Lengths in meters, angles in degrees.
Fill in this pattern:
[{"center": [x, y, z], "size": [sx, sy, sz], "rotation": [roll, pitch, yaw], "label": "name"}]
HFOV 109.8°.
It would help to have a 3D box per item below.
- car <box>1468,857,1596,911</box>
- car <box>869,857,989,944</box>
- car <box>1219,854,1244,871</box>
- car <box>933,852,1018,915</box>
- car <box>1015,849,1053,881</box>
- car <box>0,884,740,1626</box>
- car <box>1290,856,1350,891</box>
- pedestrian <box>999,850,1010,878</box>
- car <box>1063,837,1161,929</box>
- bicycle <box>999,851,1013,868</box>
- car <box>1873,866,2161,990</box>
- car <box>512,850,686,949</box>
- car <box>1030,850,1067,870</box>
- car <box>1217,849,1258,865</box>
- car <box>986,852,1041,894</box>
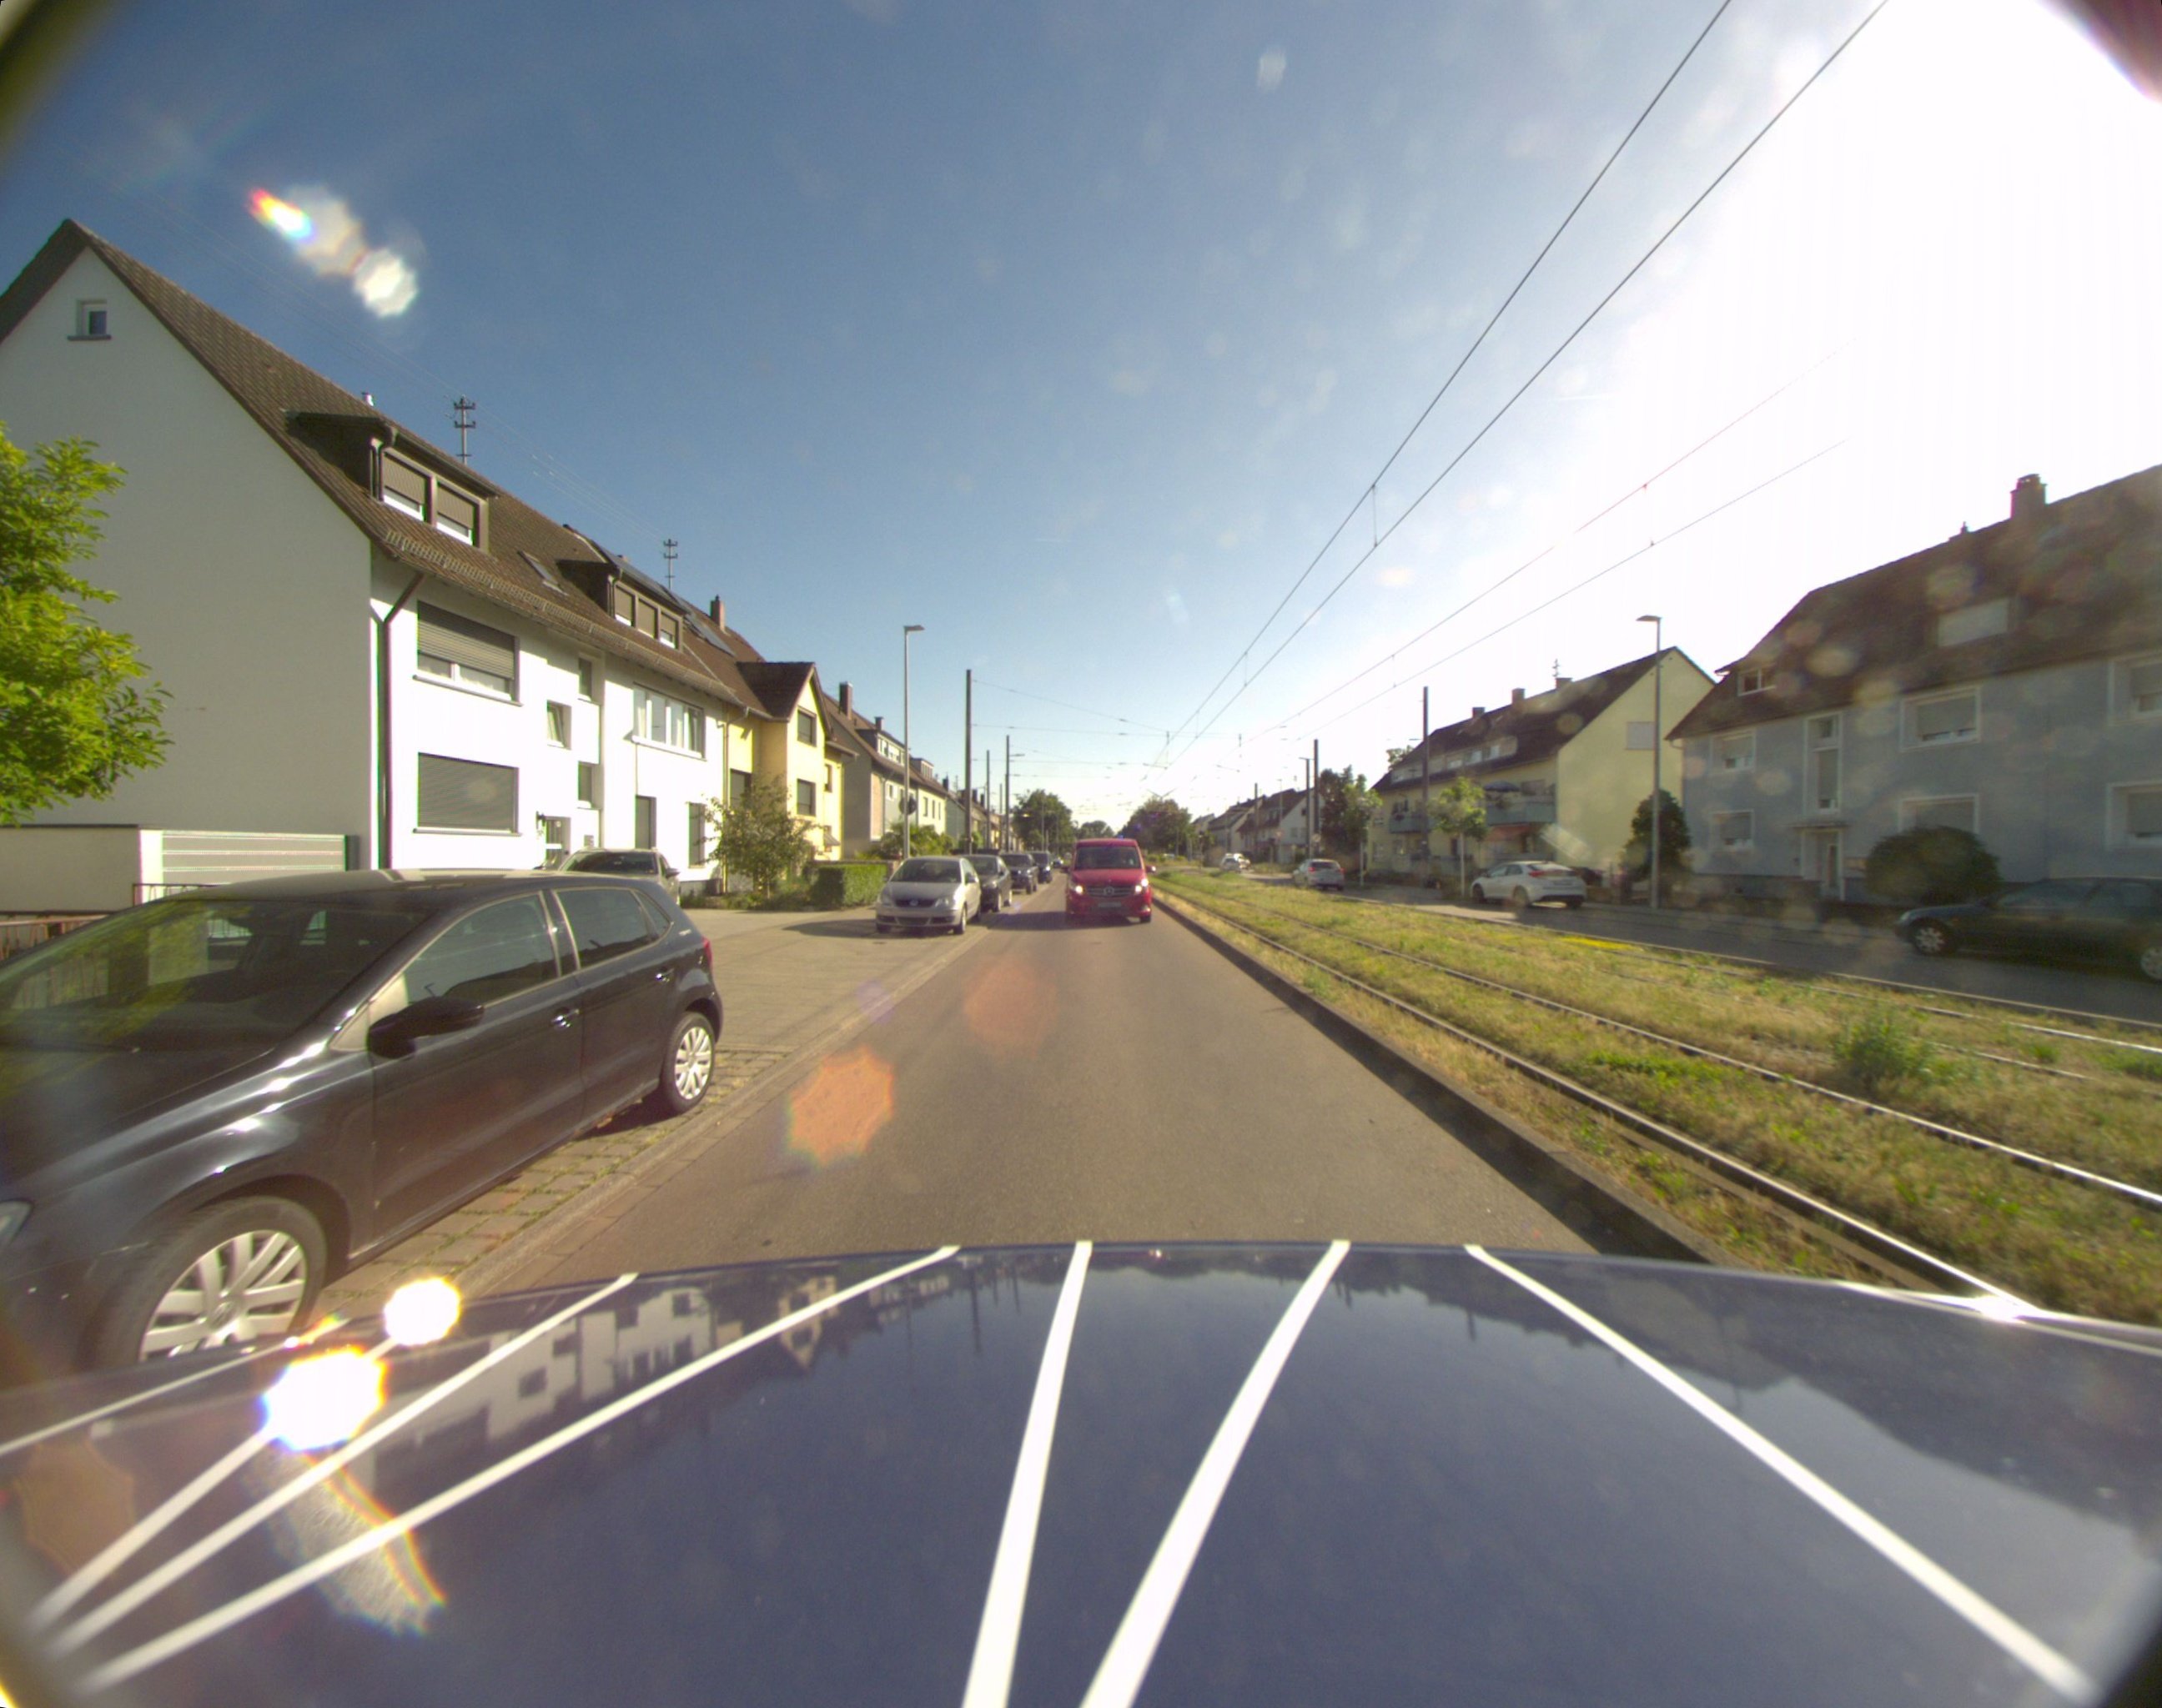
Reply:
[{"center": [14.308, 0.886, 24.397], "size": [1.696, 1.509, 4.214], "rotation": [1, 0, 2], "label": "car"}, {"center": [-2.975, 0.834, 15.755], "size": [1.620, 1.467, 4.448], "rotation": [0, 1, 0], "label": "car"}, {"center": [13.136, 0.738, 66.491], "size": [1.553, 1.403, 3.659], "rotation": [1, 0, 2], "label": "car"}, {"center": [-2.843, 0.739, 21.252], "size": [1.670, 1.538, 3.835], "rotation": [2, 0, 2], "label": "car"}, {"center": [-2.762, 0.618, 45.596], "size": [1.966, 1.825, 4.926], "rotation": [0, 0, 1], "label": "car"}, {"center": [-3.174, 0.954, 3.043], "size": [1.675, 1.445, 4.125], "rotation": [1, 1, 1], "label": "car"}, {"center": [11.527, 0.878, 36.893], "size": [1.712, 1.482, 4.023], "rotation": [0, 2, 2], "label": "car"}, {"center": [-4.654, 0.612, 46.437], "size": [0.584, 1.713, 0.714], "rotation": [1, 1, 2], "label": "pedestrian"}, {"center": [0.591, 0.597, 18.784], "size": [1.999, 1.970, 5.236], "rotation": [0, 0, -2], "label": "car"}, {"center": [-4.642, 0.340, 46.852], "size": [0.602, 0.974, 1.562], "rotation": [2, 1, 3], "label": "bicycle"}, {"center": [14.205, 0.943, 10.712], "size": [1.794, 1.454, 4.167], "rotation": [0, 0, 2], "label": "car"}, {"center": [-8.548, 0.682, 13.938], "size": [2.003, 1.437, 4.871], "rotation": [1, 0, -24], "label": "car"}, {"center": [-3.171, 0.560, 72.886], "size": [2.003, 1.762, 3.989], "rotation": [-1, 2, -29], "label": "car"}, {"center": [15.722, 0.327, 76.353], "size": [4.008, 1.570, 1.826], "rotation": [0, 1, -36], "label": "car"}, {"center": [-2.756, 0.737, 31.871], "size": [1.859, 1.649, 4.473], "rotation": [0, 0, 1], "label": "car"}]
